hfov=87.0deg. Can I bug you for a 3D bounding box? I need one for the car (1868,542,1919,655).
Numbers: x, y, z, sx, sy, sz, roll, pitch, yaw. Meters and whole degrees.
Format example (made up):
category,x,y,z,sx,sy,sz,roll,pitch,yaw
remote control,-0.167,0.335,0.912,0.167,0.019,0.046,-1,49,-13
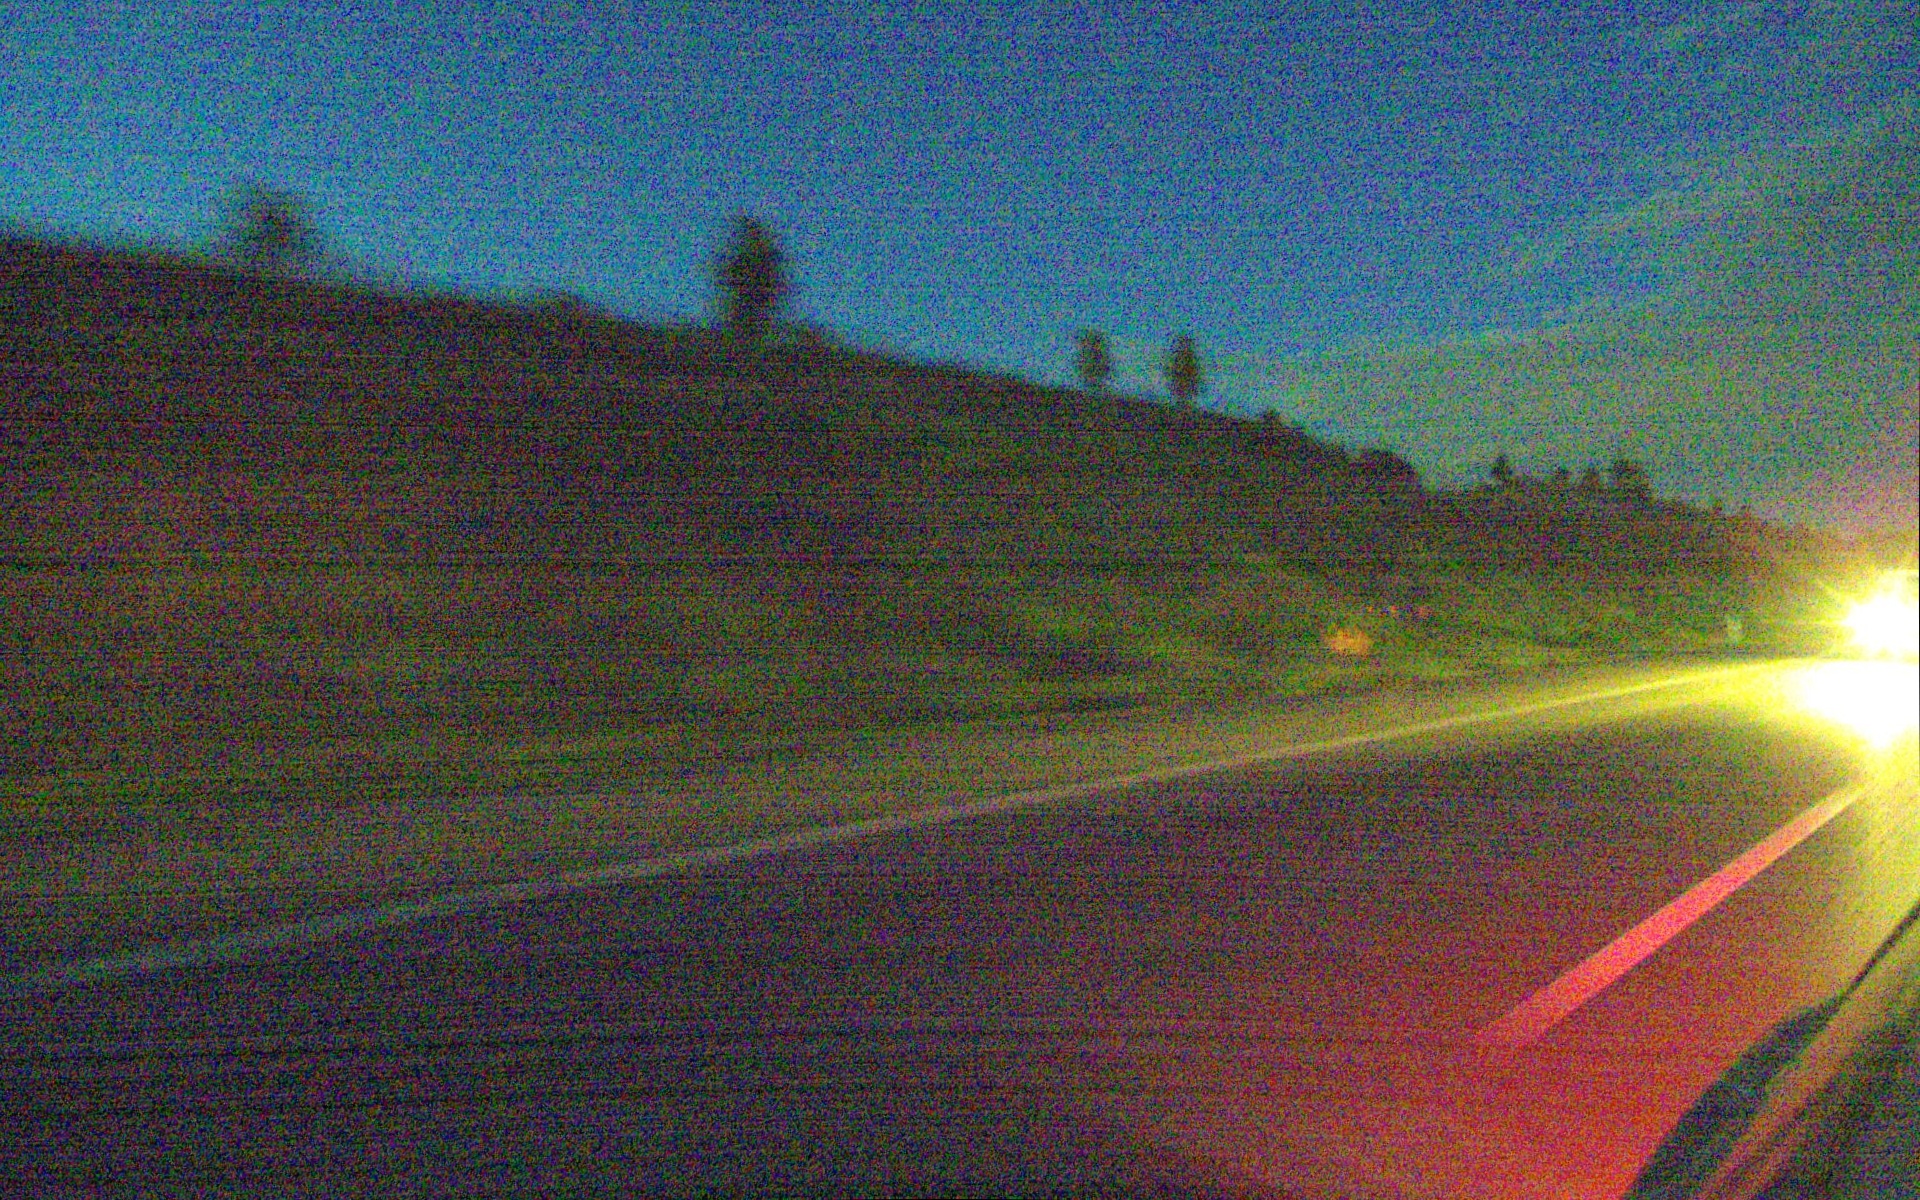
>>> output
category,x,y,z,sx,sy,sz,roll,pitch,yaw
car,25.074,-0.039,25.770,5.621,2.680,2.037,0,0,-39
